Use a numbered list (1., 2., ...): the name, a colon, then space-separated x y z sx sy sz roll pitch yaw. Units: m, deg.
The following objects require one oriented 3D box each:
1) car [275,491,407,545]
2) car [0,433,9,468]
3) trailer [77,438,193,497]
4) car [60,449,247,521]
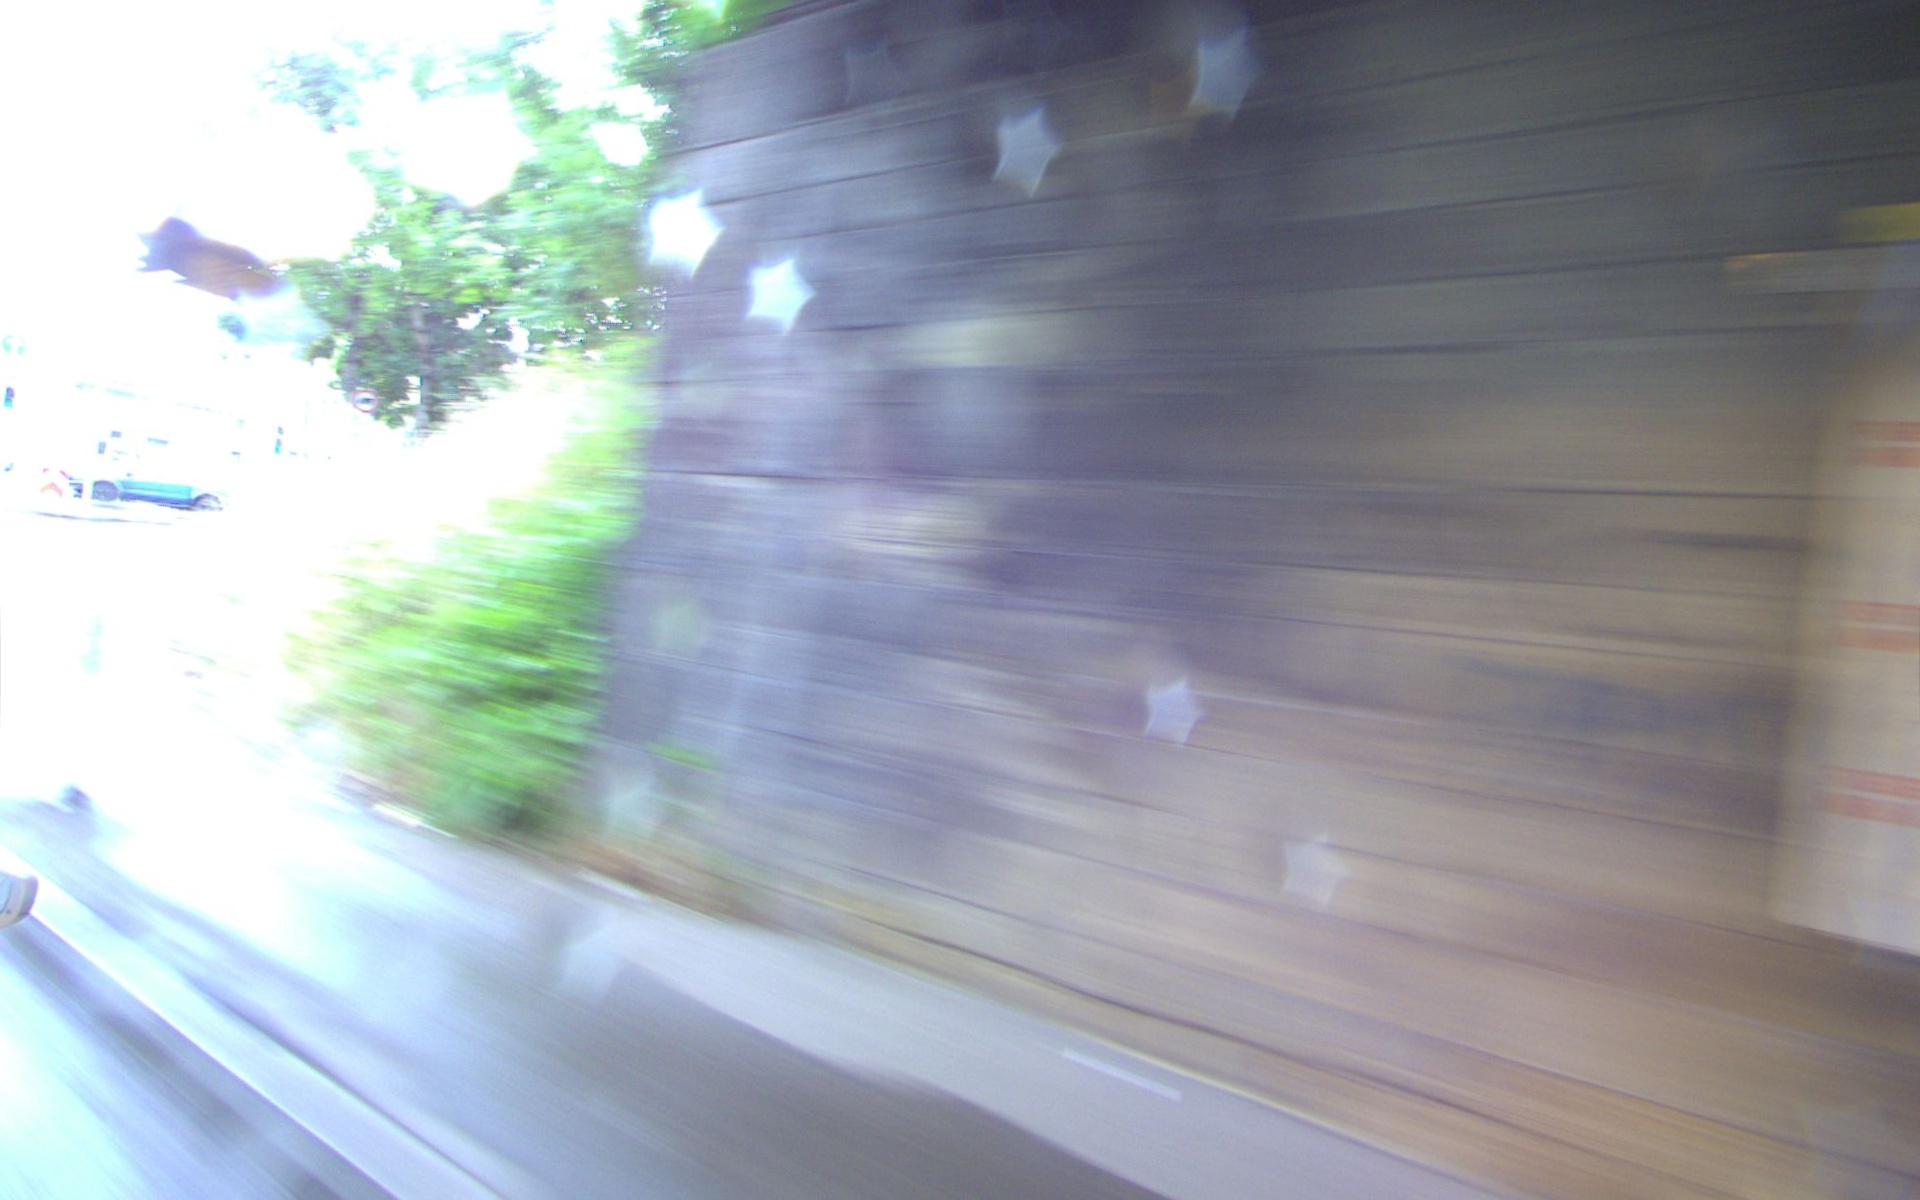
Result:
1. car: -26.716 -3.517 43.592 1.783 1.548 4.434 6 -2 33
2. car: -42.864 -6.706 43.969 2.643 1.442 1.225 9 1 34
3. trailer: -42.669 -6.851 51.966 7.004 2.456 2.391 6 -2 33
4. car: -30.637 -4.330 38.411 1.909 1.840 5.156 6 -1 34
